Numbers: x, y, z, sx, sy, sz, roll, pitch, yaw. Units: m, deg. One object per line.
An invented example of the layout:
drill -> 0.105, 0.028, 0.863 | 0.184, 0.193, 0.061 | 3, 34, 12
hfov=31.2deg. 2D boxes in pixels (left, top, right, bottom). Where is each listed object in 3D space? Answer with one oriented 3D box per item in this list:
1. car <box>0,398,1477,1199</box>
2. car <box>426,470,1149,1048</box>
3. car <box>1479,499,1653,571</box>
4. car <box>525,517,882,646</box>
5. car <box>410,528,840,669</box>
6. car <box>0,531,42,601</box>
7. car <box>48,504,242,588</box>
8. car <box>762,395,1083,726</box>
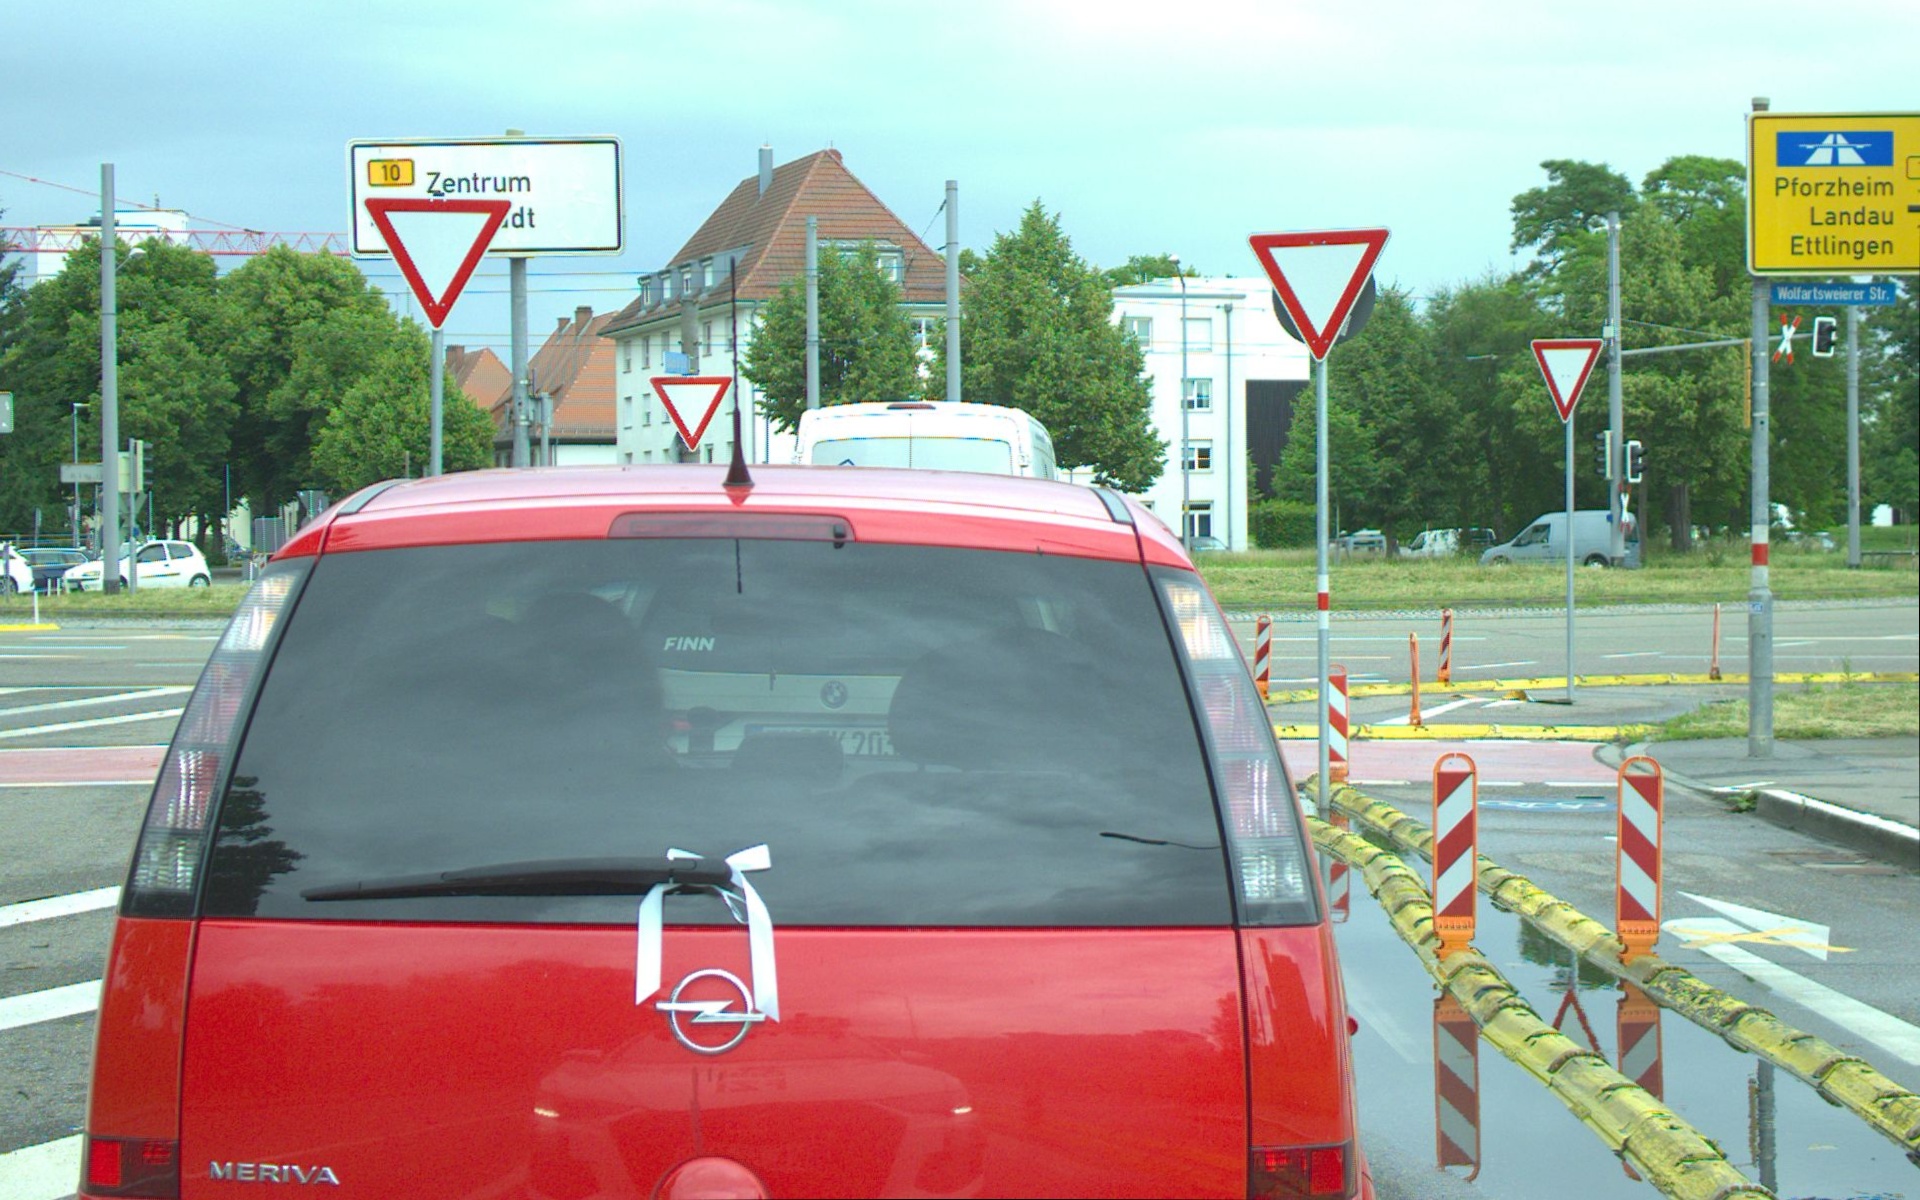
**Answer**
car -> -0.317, 0.571, 5.490 | 1.673, 1.635, 3.627 | 1, 1, -1
car -> -0.525, 0.410, 12.188 | 2.059, 1.642, 4.607 | 1, 1, -1
car -> 17.252, -1.850, 97.896 | 4.470, 2.007, 1.997 | 0, 1, 29
car -> -3.090, -0.236, 41.877 | 3.988, 1.503, 1.999 | -1, 1, 8
car -> -3.637, -0.029, 37.810 | 4.344, 1.459, 1.999 | -1, 1, 8
car -> -24.067, -0.774, 80.619 | 1.998, 1.629, 4.665 | 0, 2, 37
car -> -20.210, -1.359, 85.433 | 1.997, 2.007, 4.471 | 0, 1, 35
car -> -0.204, -0.357, 29.022 | 2.195, 2.531, 4.961 | 1, 1, 5
